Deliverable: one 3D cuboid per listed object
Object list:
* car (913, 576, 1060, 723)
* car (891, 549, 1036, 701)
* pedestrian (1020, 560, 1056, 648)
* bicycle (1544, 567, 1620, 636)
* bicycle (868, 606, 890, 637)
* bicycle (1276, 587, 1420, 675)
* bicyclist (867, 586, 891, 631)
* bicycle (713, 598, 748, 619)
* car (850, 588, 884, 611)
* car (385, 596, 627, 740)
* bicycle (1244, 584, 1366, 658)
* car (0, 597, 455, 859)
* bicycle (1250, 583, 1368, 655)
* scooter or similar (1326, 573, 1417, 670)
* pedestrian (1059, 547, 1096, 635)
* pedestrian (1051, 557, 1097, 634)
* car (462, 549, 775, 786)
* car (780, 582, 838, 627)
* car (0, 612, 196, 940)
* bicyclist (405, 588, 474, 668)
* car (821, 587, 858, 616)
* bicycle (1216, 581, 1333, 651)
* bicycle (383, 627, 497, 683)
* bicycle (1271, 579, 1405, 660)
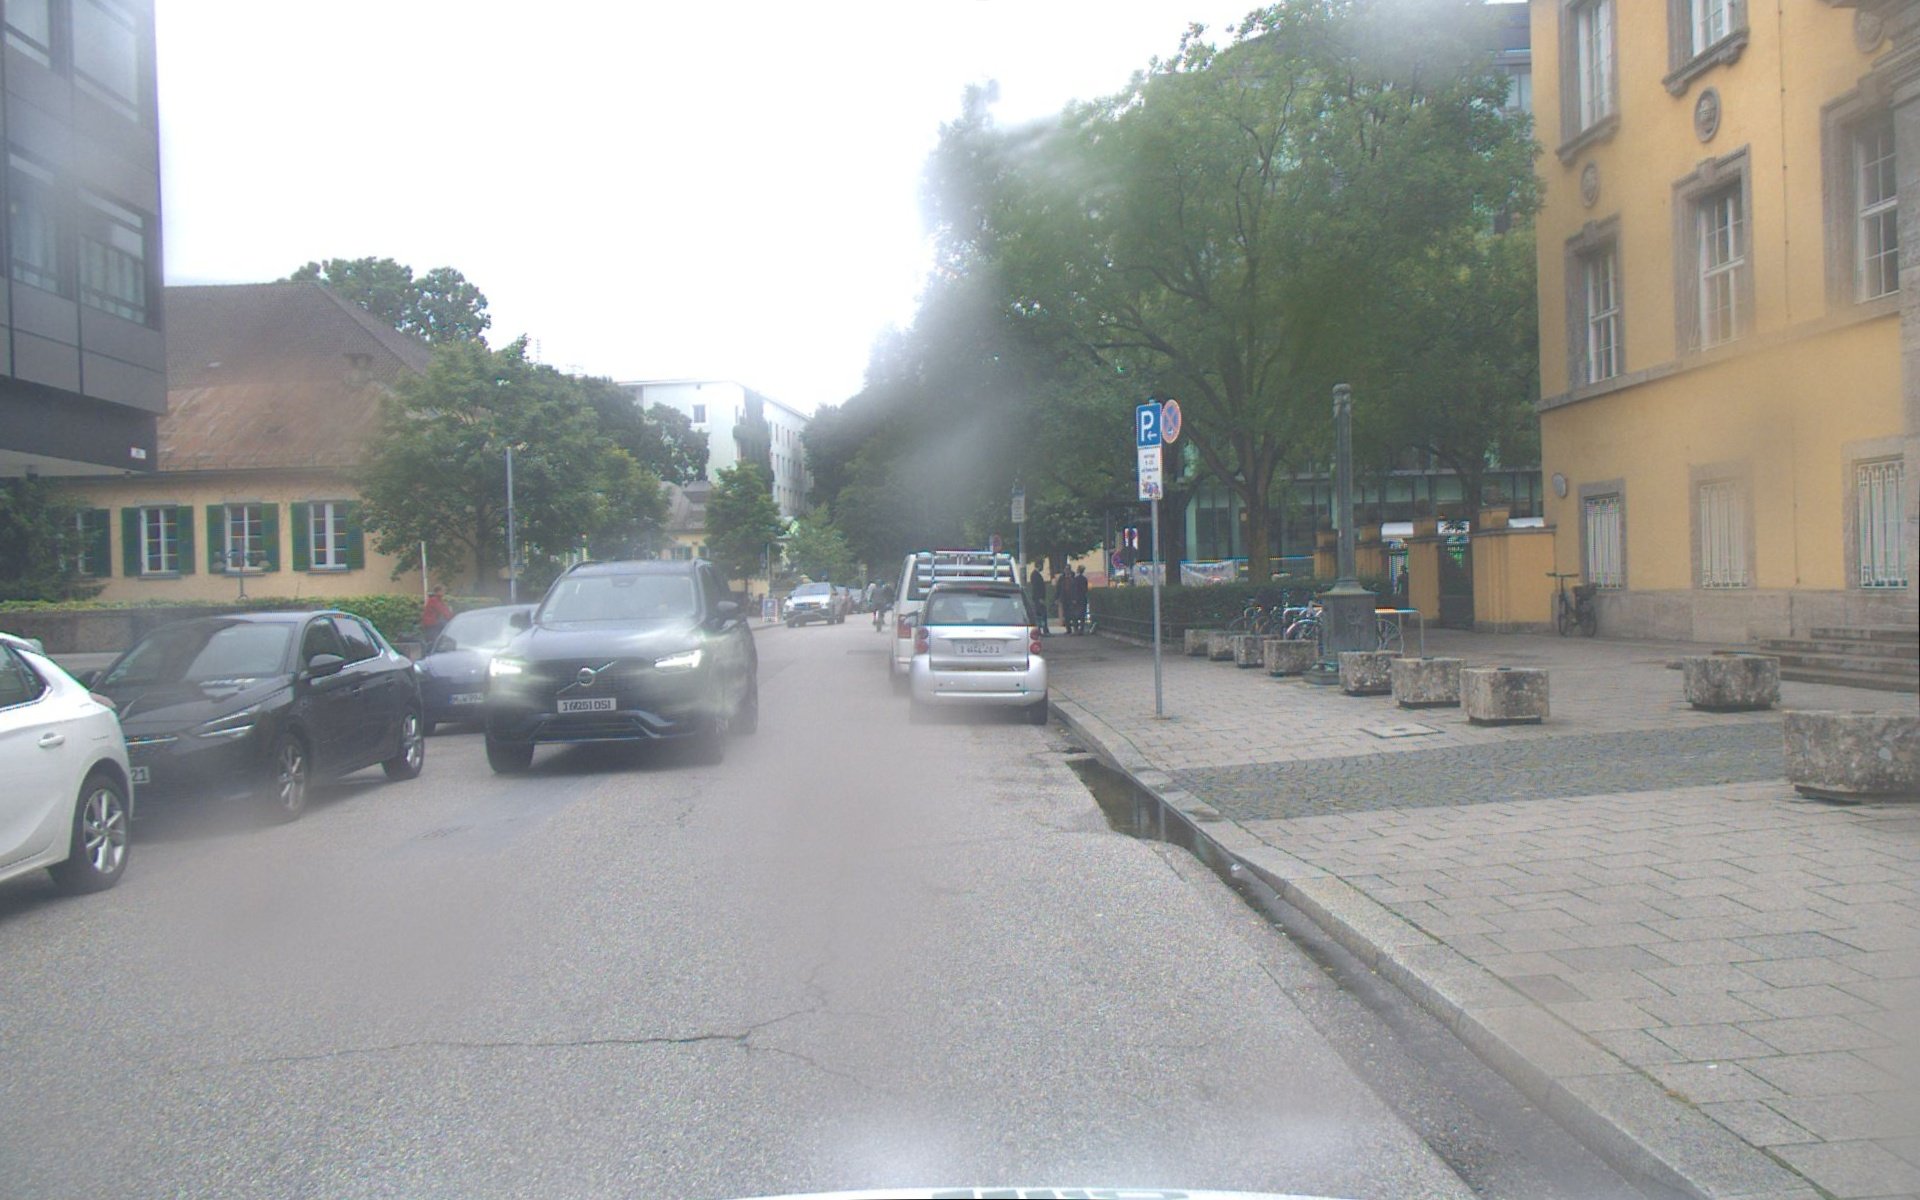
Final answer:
[{"bbox_3d":[0.244,0.523,19.296,1.573,1.573,2.932,0,0,-2],"label":"car"},{"bbox_3d":[-0.062,0.313,24.386,1.808,1.967,5.269,1,0,-3],"label":"car"},{"bbox_3d":[1.977,0.096,42.168,0.727,2.172,1.055,-2,0,-3],"label":"pedestrian"},{"bbox_3d":[11.229,0.008,29.900,0.531,1.174,1.901,-2,1,-3],"label":"bicycle"},{"bbox_3d":[-2.600,0.683,53.298,0.613,0.971,1.860,1,0,-1],"label":"bicycle"},{"bbox_3d":[5.478,0.432,23.367,1.894,1.133,0.471,-3,0,-5],"label":"bicycle"},{"bbox_3d":[-2.604,0.281,53.237,0.690,1.418,0.868,1,0,-1],"label":"bicyclist"},{"bbox_3d":[-11.308,0.410,81.464,1.594,0.942,0.646,-2,-1,-27],"label":"bicycle"},{"bbox_3d":[-6.577,-0.071,117.433,1.952,1.512,4.002,-2,1,2],"label":"car"},{"bbox_3d":[-5.502,0.753,20.718,1.885,1.464,4.914,-4,0,-4],"label":"car"},{"bbox_3d":[5.758,0.347,27.642,1.892,1.133,0.471,-3,0,0],"label":"bicycle"},{"bbox_3d":[-5.319,0.798,12.423,1.705,1.486,4.236,-4,1,-1],"label":"car"},{"bbox_3d":[5.992,0.323,28.443,1.892,1.133,0.471,-3,0,-1],"label":"bicycle"},{"bbox_3d":[5.485,0.293,22.074,0.994,1.243,0.534,-2,1,43],"label":"scooter or similar"},{"bbox_3d":[2.981,-0.222,42.043,0.727,2.172,1.055,-2,0,-3],"label":"pedestrian"},{"bbox_3d":[2.978,-0.128,43.193,0.729,1.941,1.053,-2,0,33],"label":"pedestrian"},{"bbox_3d":[-2.926,0.504,15.313,1.921,1.710,4.910,-4,1,-2],"label":"car"},{"bbox_3d":[-6.255,0.147,68.808,1.984,1.718,4.676,-3,1,-1],"label":"car"},{"bbox_3d":[-5.234,0.882,7.388,1.648,1.465,4.278,-4,0,-2],"label":"car"},{"bbox_3d":[-10.271,0.547,32.661,1.068,1.524,0.674,-2,-1,12],"label":"bicyclist"},{"bbox_3d":[-7.236,0.106,99.641,1.953,1.631,3.999,-1,0,-1],"label":"car"},{"bbox_3d":[5.681,0.283,29.919,1.992,1.133,0.471,-3,0,-5],"label":"bicycle"},{"bbox_3d":[-10.259,1.085,32.642,2.087,1.022,0.624,-2,-1,11],"label":"bicycle"},{"bbox_3d":[5.780,0.290,25.337,1.892,1.133,0.471,-3,0,0],"label":"bicycle"}]
